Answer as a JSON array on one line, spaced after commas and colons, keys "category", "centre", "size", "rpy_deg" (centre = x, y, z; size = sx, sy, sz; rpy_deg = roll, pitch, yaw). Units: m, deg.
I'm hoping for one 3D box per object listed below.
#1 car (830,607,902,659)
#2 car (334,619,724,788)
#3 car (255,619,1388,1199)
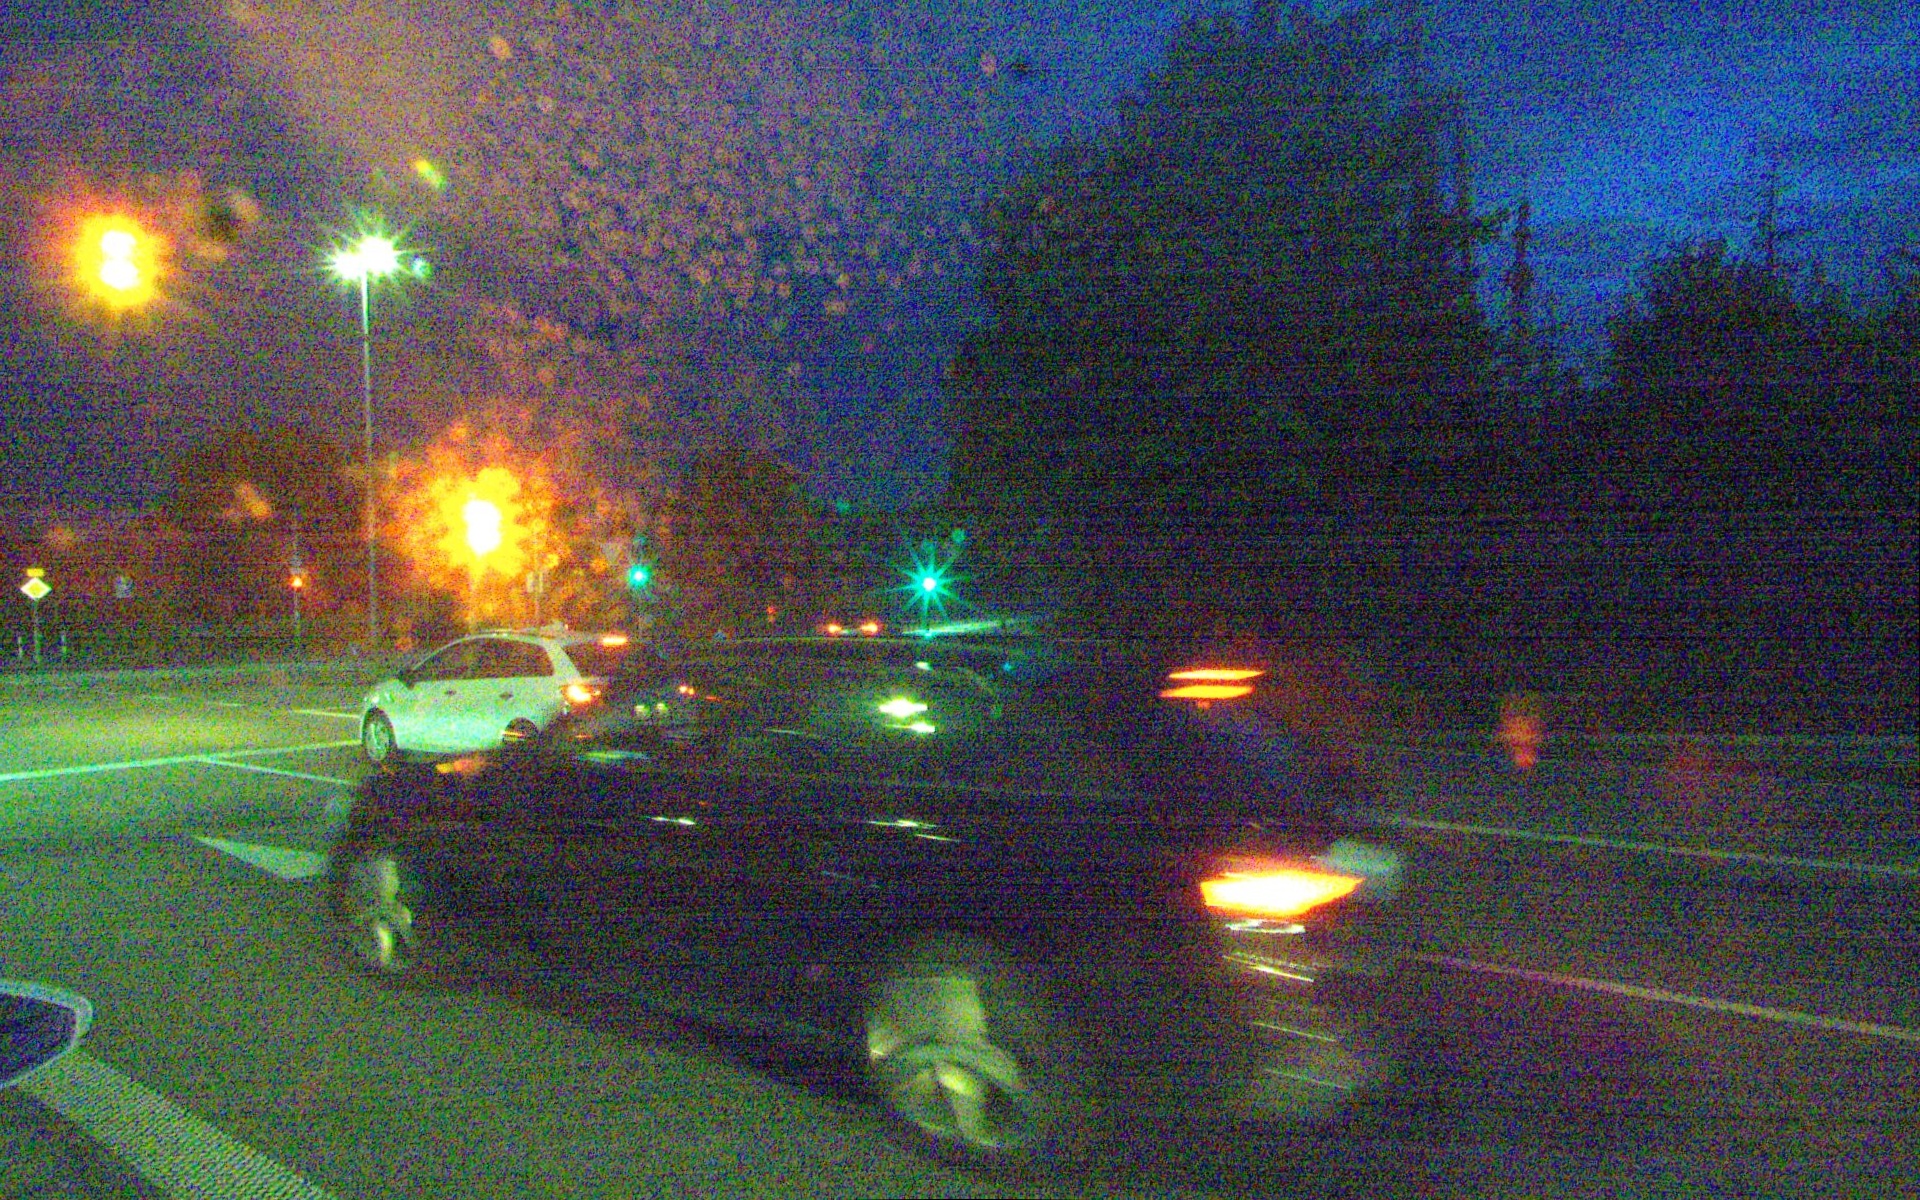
[{"category": "car", "centre": [-3.338, 1.143, 36.362], "size": [1.707, 1.595, 4.056], "rpy_deg": [2, 2, 8]}, {"category": "car", "centre": [-4.542, 0.959, 10.420], "size": [4.056, 1.461, 1.618], "rpy_deg": [-1, -3, 30]}, {"category": "car", "centre": [-0.757, 0.834, 4.112], "size": [4.466, 1.462, 1.789], "rpy_deg": [-1, -2, 30]}]
